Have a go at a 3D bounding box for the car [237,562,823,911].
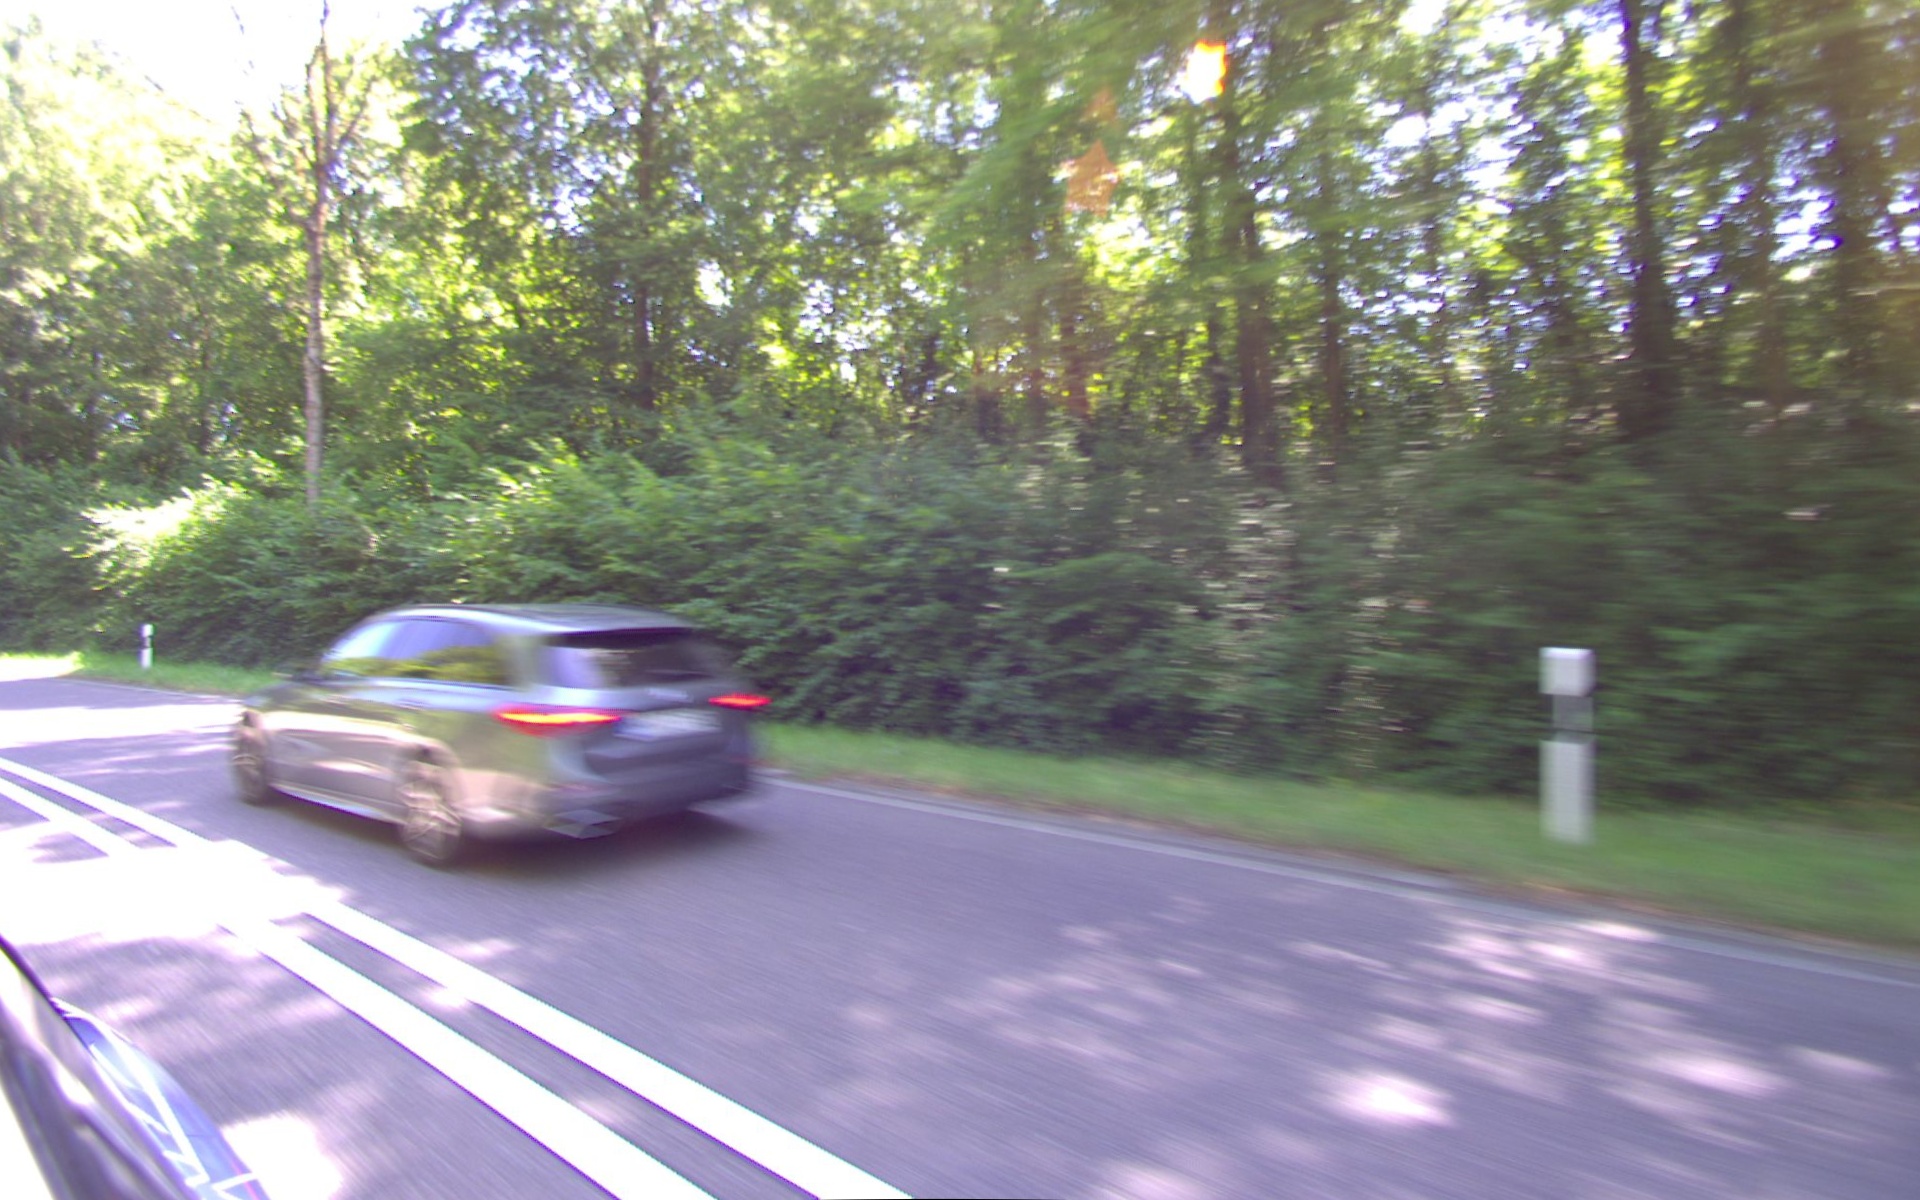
[{"bbox_3d":[-3.034,0.633,6.674,4.363,1.586,1.739,0,0,39],"label":"car"}]
